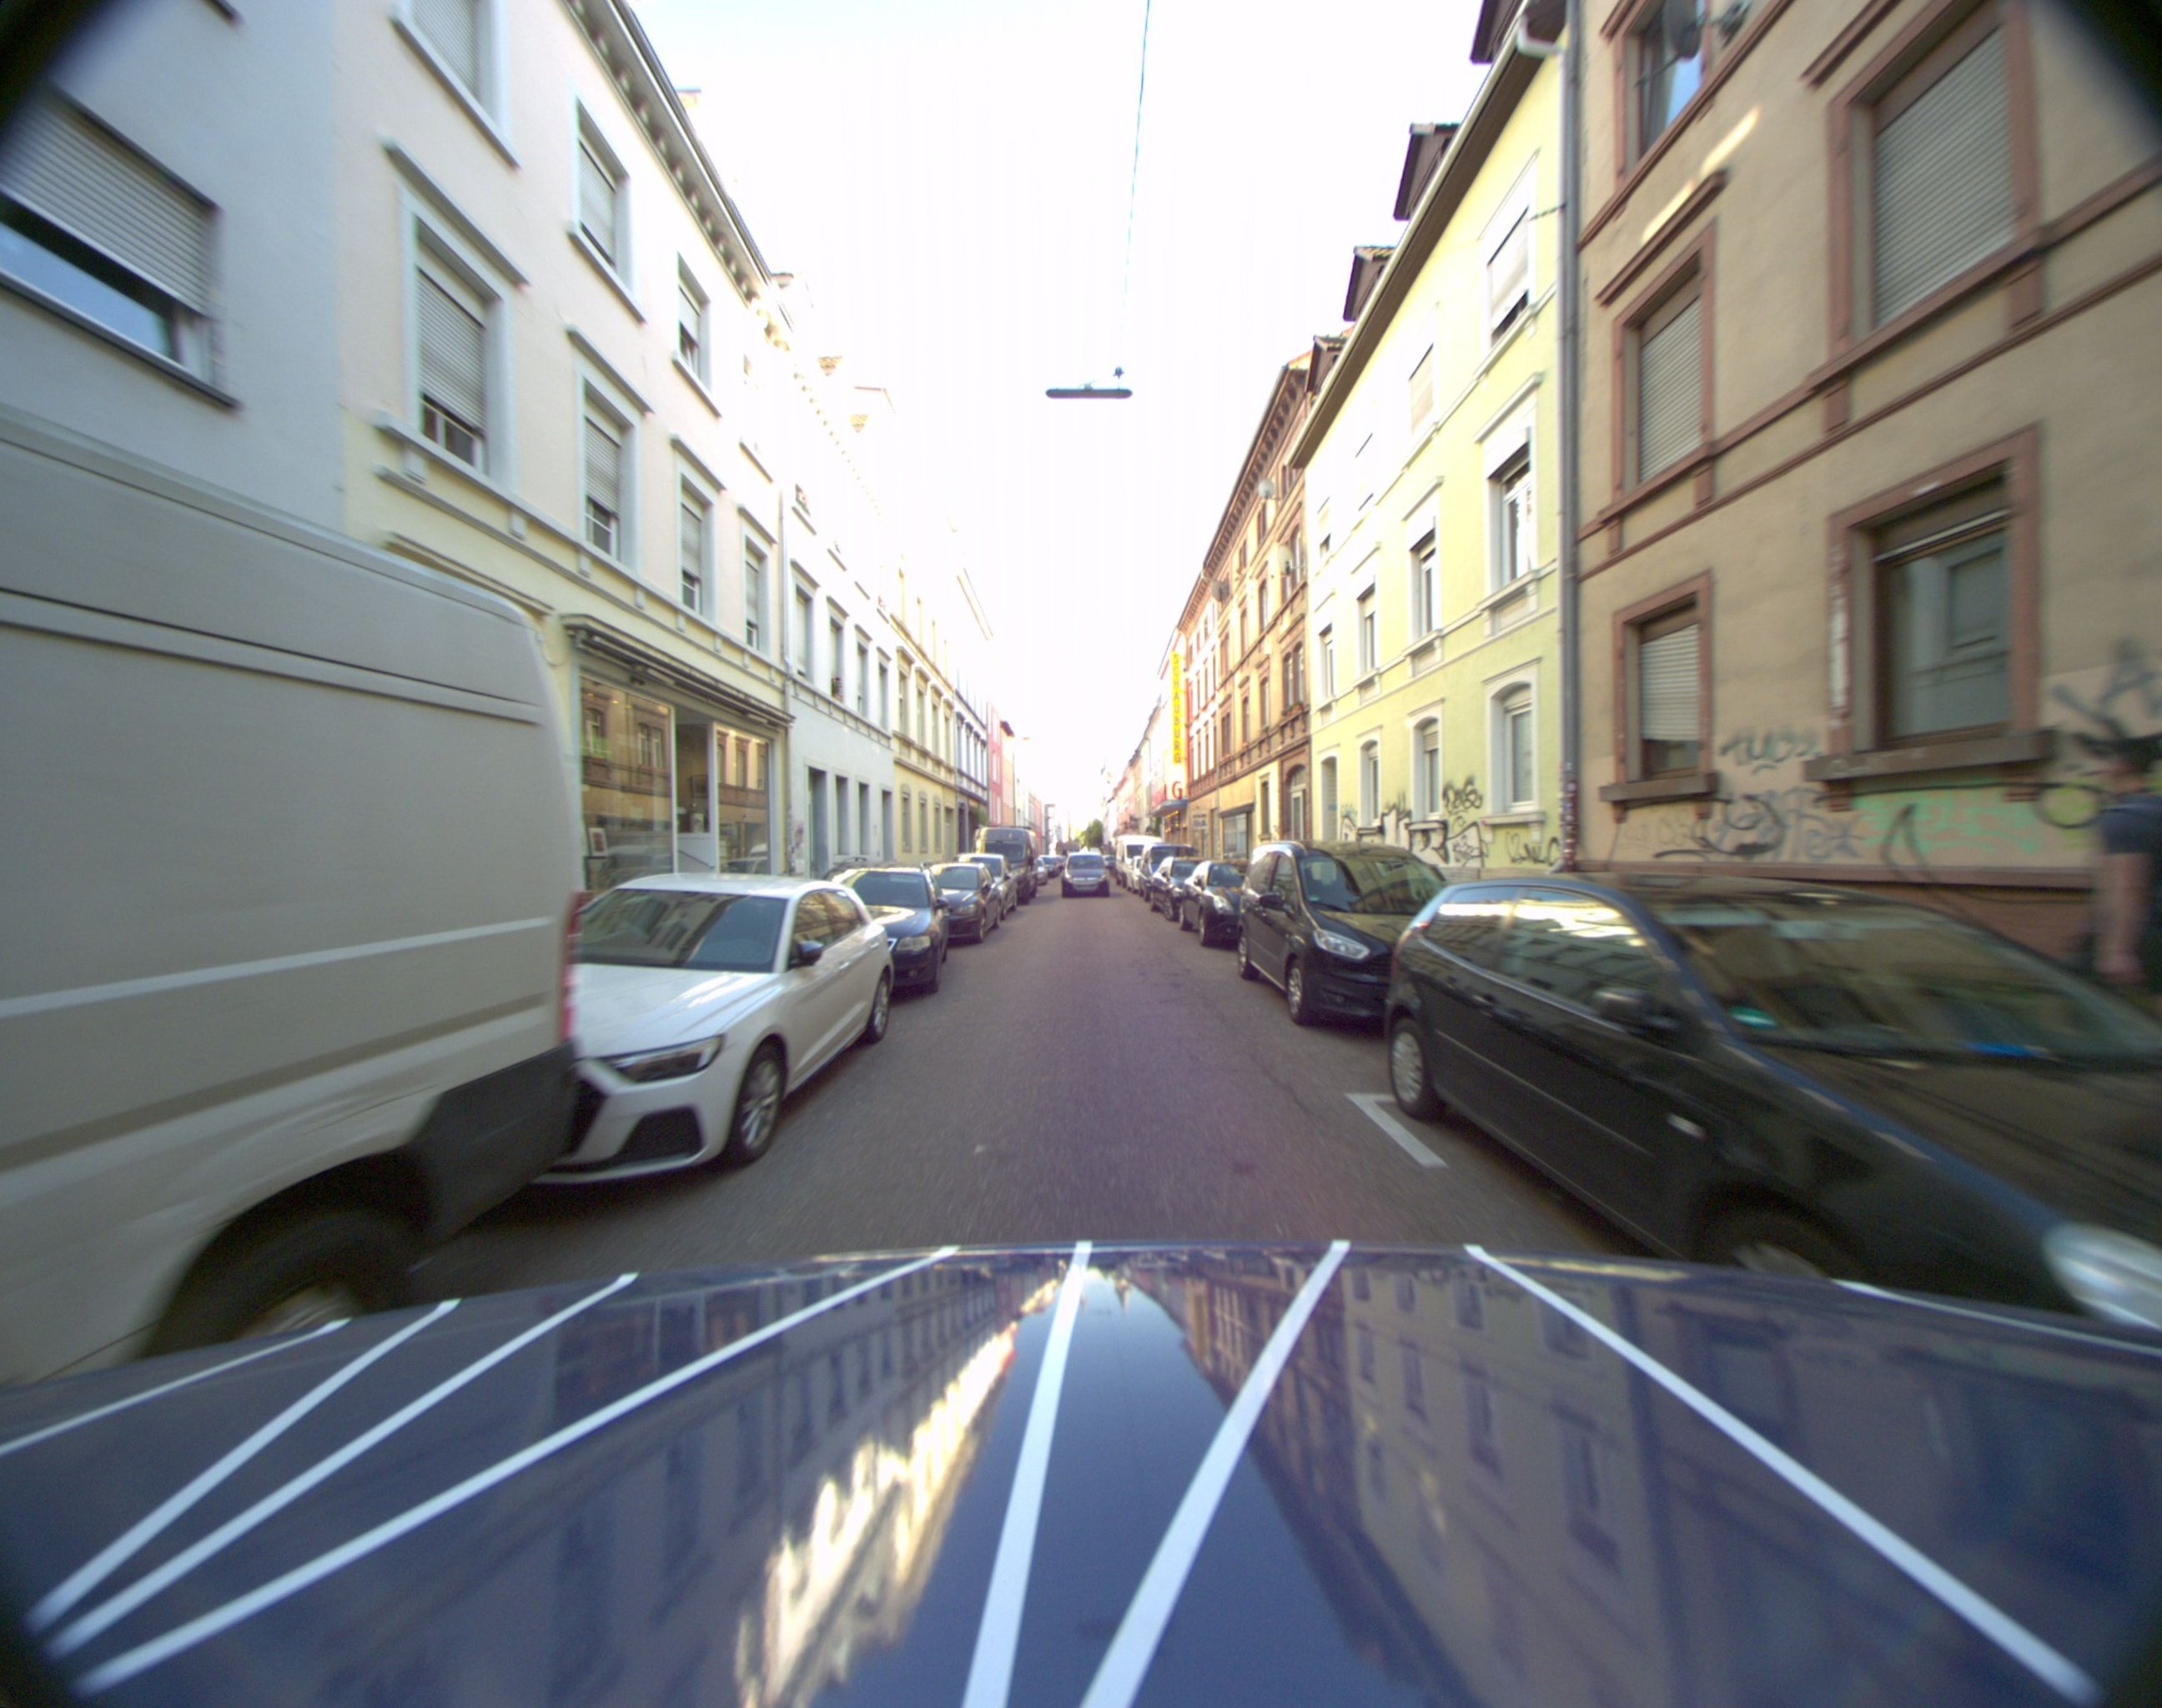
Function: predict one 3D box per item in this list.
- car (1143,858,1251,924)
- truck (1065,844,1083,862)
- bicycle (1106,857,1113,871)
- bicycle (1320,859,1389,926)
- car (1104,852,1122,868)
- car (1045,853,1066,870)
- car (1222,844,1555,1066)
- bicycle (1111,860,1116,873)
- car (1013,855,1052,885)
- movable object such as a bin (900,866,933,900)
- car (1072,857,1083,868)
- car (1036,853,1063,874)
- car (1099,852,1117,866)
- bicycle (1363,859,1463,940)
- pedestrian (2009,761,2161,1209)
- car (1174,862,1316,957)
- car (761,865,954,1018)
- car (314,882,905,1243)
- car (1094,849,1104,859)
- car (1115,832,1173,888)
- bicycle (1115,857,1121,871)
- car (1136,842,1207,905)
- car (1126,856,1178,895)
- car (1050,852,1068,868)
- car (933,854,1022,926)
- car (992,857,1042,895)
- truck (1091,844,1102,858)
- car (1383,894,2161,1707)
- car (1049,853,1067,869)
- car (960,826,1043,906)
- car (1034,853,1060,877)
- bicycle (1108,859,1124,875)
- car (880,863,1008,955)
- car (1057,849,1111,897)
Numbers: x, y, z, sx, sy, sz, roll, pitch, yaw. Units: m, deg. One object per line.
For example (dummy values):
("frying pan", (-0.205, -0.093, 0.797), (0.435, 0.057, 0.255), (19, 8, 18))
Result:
("car", (2.764, 0.831, 19.132), (1.867, 1.431, 4.644), (0, 0, -2))
("truck", (-1.102, -0.156, 123.421), (2.819, 2.735, 7.677), (-3, 0, 0))
("bicycle", (2.353, 0.812, 63.220), (0.500, 1.099, 1.829), (-2, 0, 0))
("bicycle", (5.629, 0.761, 15.785), (0.675, 1.264, 2.086), (-1, 0, 0))
("car", (3.119, 0.571, 74.076), (1.684, 1.446, 4.034), (0, 0, 4))
("car", (-2.279, 0.638, 68.629), (1.701, 1.514, 3.980), (1, 0, 1))
("car", (2.768, 0.778, 7.938), (1.805, 1.688, 3.999), (2, 0, 0))
("bicycle", (2.497, 0.956, 58.229), (0.391, 0.911, 1.393), (-1, 0, 1))
("car", (-2.578, 0.820, 41.210), (1.791, 1.446, 4.546), (2, 0, 0))
("movable object such as a bin", (-5.194, 0.909, 24.083), (0.865, 1.036, 0.708), (2, 0, -2))
("car", (-0.534, 1.275, 112.695), (1.644, 1.528, 3.842), (-1, 0, 0))
("car", (-2.374, 0.695, 58.173), (1.750, 1.547, 4.171), (-1, 0, 1))
("car", (3.012, 0.539, 84.584), (1.792, 1.454, 4.199), (0, 0, -1))
("bicycle", (5.754, 0.735, 13.342), (0.669, 1.238, 2.327), (-4, 0, 0))
("pedestrian", (4.728, 0.529, 3.223), (0.612, 1.847, 0.754), (-3, 1, 0))
("car", (2.783, 0.884, 13.787), (1.741, 1.418, 4.000), (0, 0, 0))
("car", (-2.655, 0.947, 10.056), (1.817, 1.469, 4.604), (2, -1, -9))
("car", (-2.509, 0.987, 5.260), (1.729, 1.421, 3.831), (0, 0, -1))
("car", (3.693, -0.027, 156.960), (1.998, 2.002, 4.258), (0, 0, 1))
("car", (2.920, 0.259, 36.478), (2.174, 2.438, 5.920), (1, 0, -1))
("bicycle", (3.074, 0.835, 63.142), (0.444, 1.099, 1.931), (-2, 0, 0))
("car", (2.960, 0.584, 25.705), (1.832, 1.881, 4.613), (2, 0, 0))
("car", (2.790, 0.806, 30.581), (1.650, 1.438, 3.839), (0, 0, -1))
("car", (-2.250, 0.597, 78.724), (1.794, 1.542, 4.000), (-1, 0, 0))
("car", (-2.558, 0.839, 19.784), (1.698, 1.598, 4.374), (1, 0, 0))
("car", (-2.687, 0.904, 32.927), (1.752, 1.436, 4.171), (-1, 0, 0))
("truck", (3.852, -0.746, 185.599), (2.524, 3.271, 6.642), (-1, 0, 1))
("car", (2.601, 0.969, 2.803), (1.596, 1.432, 3.653), (0, 0, 1))
("car", (-2.174, 0.687, 73.207), (1.692, 1.444, 4.193), (1, 0, -1))
("car", (-2.565, 0.361, 26.215), (2.180, 2.411, 6.308), (1, 0, 0))
("car", (-2.366, 0.752, 53.466), (1.606, 1.530, 3.450), (2, 0, 1))
("bicycle", (2.349, 0.888, 51.068), (0.462, 1.041, 1.748), (-3, 0, -15))
("car", (-2.523, 0.956, 14.999), (1.750, 1.477, 4.242), (0, 0, 0))
("car", (0.121, 0.654, 28.277), (1.832, 1.650, 4.213), (0, 0, 0))
